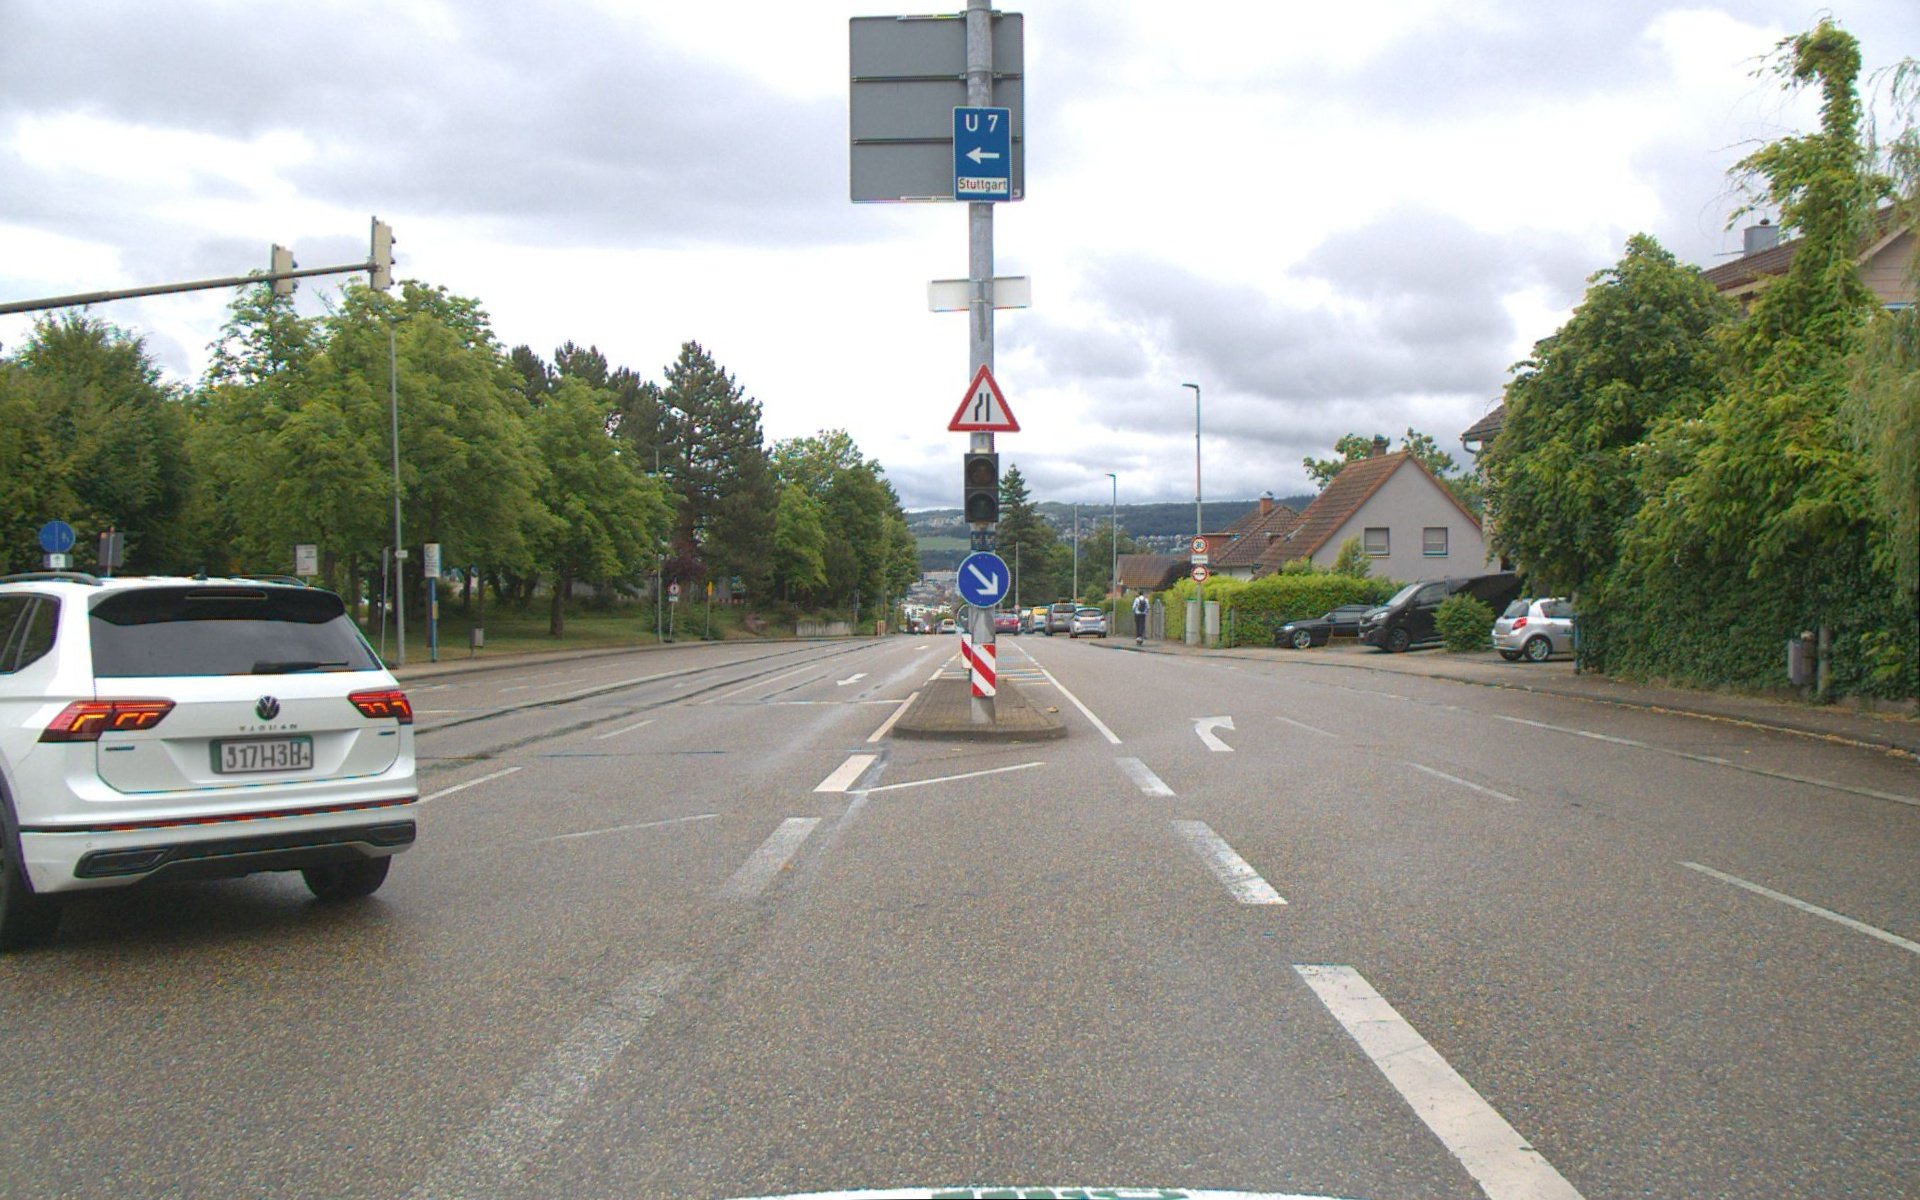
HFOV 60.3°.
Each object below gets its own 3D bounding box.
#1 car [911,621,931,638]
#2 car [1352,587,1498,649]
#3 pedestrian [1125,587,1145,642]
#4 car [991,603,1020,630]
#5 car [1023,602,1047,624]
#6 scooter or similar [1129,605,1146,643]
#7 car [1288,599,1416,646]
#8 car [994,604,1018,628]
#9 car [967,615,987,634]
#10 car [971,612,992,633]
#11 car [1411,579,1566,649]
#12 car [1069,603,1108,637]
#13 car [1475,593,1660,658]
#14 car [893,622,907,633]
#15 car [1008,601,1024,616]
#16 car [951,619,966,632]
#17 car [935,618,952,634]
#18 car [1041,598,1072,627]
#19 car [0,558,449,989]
[{"bbox_3d":[-4.065,3.084,174.118,1.806,1.747,4.002,0,0,3],"label":"car"},{"bbox_3d":[12.993,0.482,46.349,3.554,1.654,1.791,-1,0,-2],"label":"car"},{"bbox_3d":[6.492,0.542,61.439,0.642,2.037,0.718,0,0,-1],"label":"pedestrian"},{"bbox_3d":[2.929,1.040,105.837,1.718,1.602,4.001,-1,0,2],"label":"car"},{"bbox_3d":[5.738,0.994,127.308,1.812,1.602,4.001,-1,0,2],"label":"car"},{"bbox_3d":[6.595,0.873,61.420,0.452,1.385,1.384,0,0,-1],"label":"scooter or similar"},{"bbox_3d":[12.124,0.703,51.243,3.611,1.394,1.519,0,-2,0],"label":"car"},{"bbox_3d":[3.332,1.146,119.212,1.702,1.602,4.001,-1,0,2],"label":"car"},{"bbox_3d":[1.770,2.528,171.151,1.848,1.825,4.001,0,0,2],"label":"car"},{"bbox_3d":[1.985,2.063,149.906,1.760,1.814,4.001,0,0,2],"label":"car"},{"bbox_3d":[13.994,0.364,43.923,3.554,1.777,1.707,-1,0,-2],"label":"car"},{"bbox_3d":[6.498,0.981,83.813,1.812,1.602,4.001,1,0,2],"label":"car"},{"bbox_3d":[14.106,0.594,38.489,3.641,1.420,1.727,-1,-1,-5],"label":"car"},{"bbox_3d":[-9.074,4.192,251.857,1.953,1.680,4.000,-1,0,0],"label":"car"},{"bbox_3d":[6.265,0.984,184.383,1.812,1.602,4.001,-1,0,2],"label":"car"},{"bbox_3d":[-0.165,3.500,225.393,1.953,1.680,4.000,-1,0,0],"label":"car"},{"bbox_3d":[-2.006,3.122,201.083,1.848,1.825,4.001,0,0,1],"label":"car"},{"bbox_3d":[5.980,0.751,102.644,1.812,1.601,4.002,0,2,2],"label":"car"},{"bbox_3d":[-4.538,0.720,8.756,1.756,1.725,4.201,-1,0,-45],"label":"car"}]
